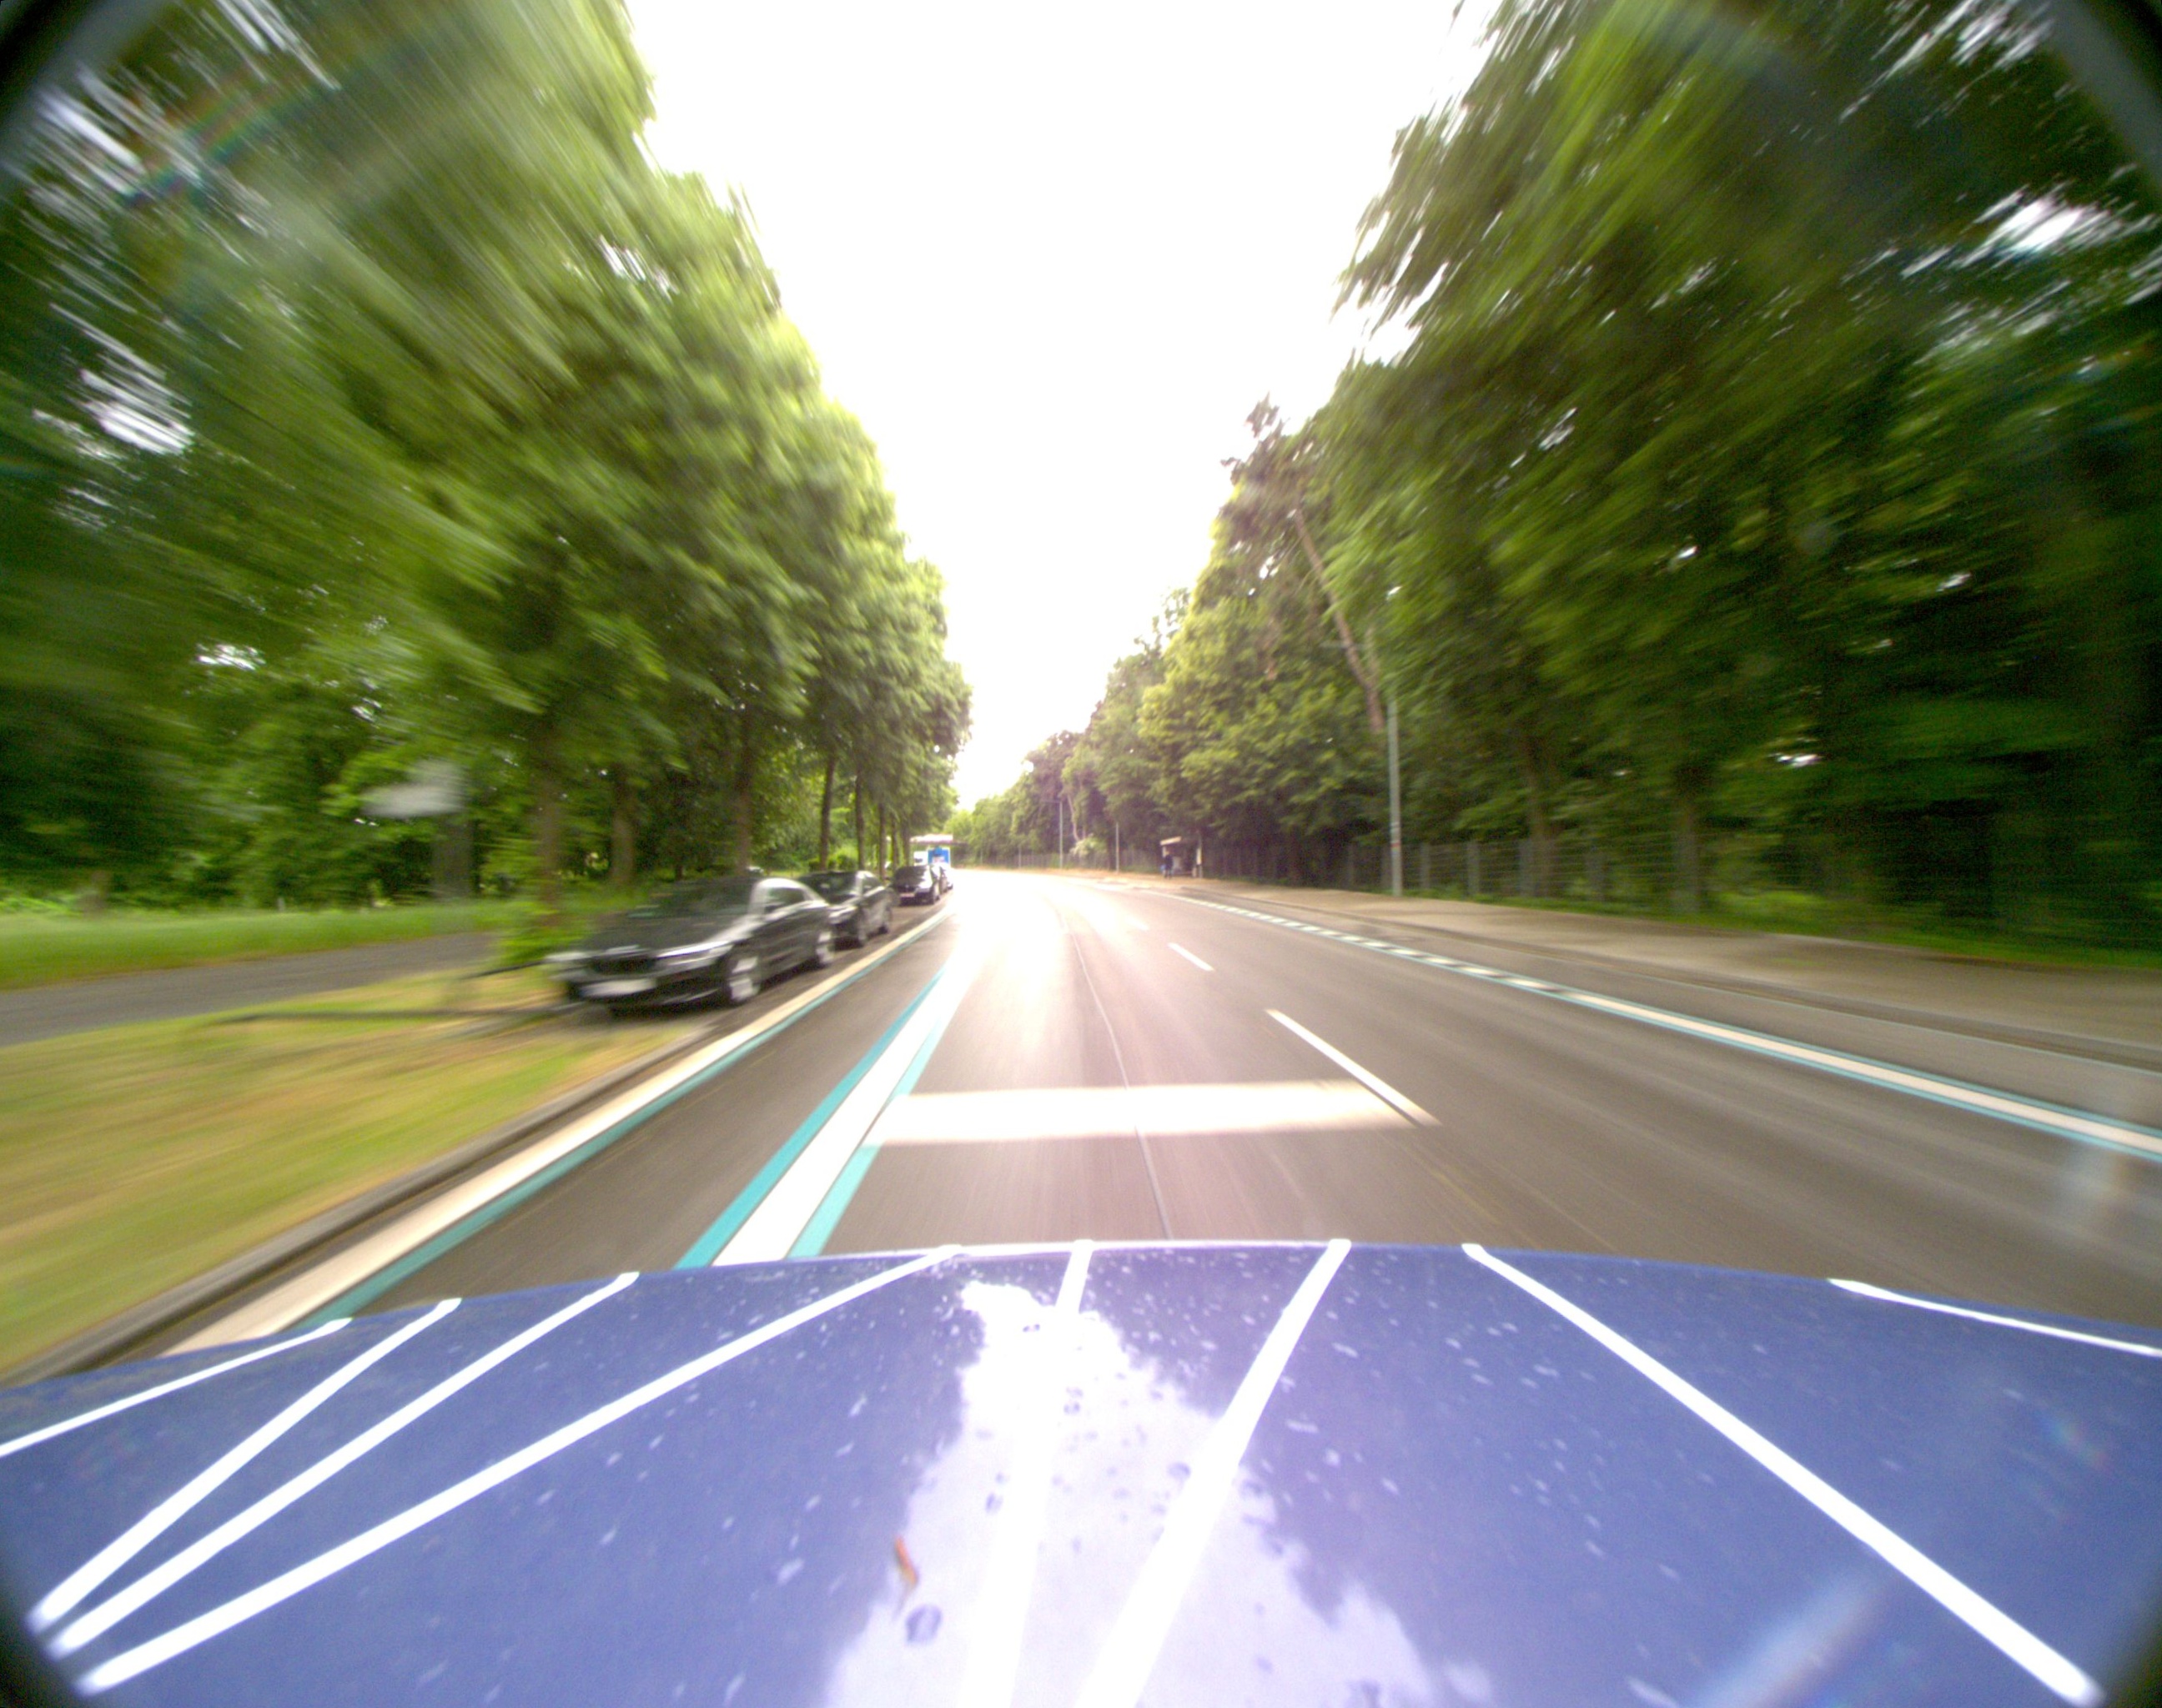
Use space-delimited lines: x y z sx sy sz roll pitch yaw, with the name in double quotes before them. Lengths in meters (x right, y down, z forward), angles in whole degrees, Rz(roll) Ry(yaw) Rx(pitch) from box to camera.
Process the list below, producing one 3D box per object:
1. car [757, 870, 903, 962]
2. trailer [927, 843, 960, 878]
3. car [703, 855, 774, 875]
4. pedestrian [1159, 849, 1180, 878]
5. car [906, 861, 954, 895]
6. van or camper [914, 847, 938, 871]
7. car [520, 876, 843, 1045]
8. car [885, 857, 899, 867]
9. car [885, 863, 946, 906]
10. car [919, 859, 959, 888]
"car" -4.989 1.140 15.818 1.704 1.412 4.761 -3 1 -4
"trailer" -11.229 0.509 61.781 2.324 2.656 5.370 -1 0 -12
"car" -24.337 0.763 54.098 4.147 1.314 1.890 1 0 -1
"pedestrian" 5.423 0.590 46.555 0.890 1.723 1.145 -2 1 -12
"car" -7.216 1.089 36.657 1.688 1.420 4.316 -2 1 -4
"van or camper" -18.414 0.606 89.887 2.326 2.649 6.373 -1 0 -15
"car" -4.702 1.120 9.937 1.762 1.431 4.856 -2 0 -2
"car" -30.725 1.348 123.654 1.668 1.526 3.734 -2 1 -22
"car" -6.329 1.102 29.453 1.787 1.399 4.842 -2 1 -7
"car" -7.904 1.073 42.663 1.865 1.420 4.646 -2 1 -7
